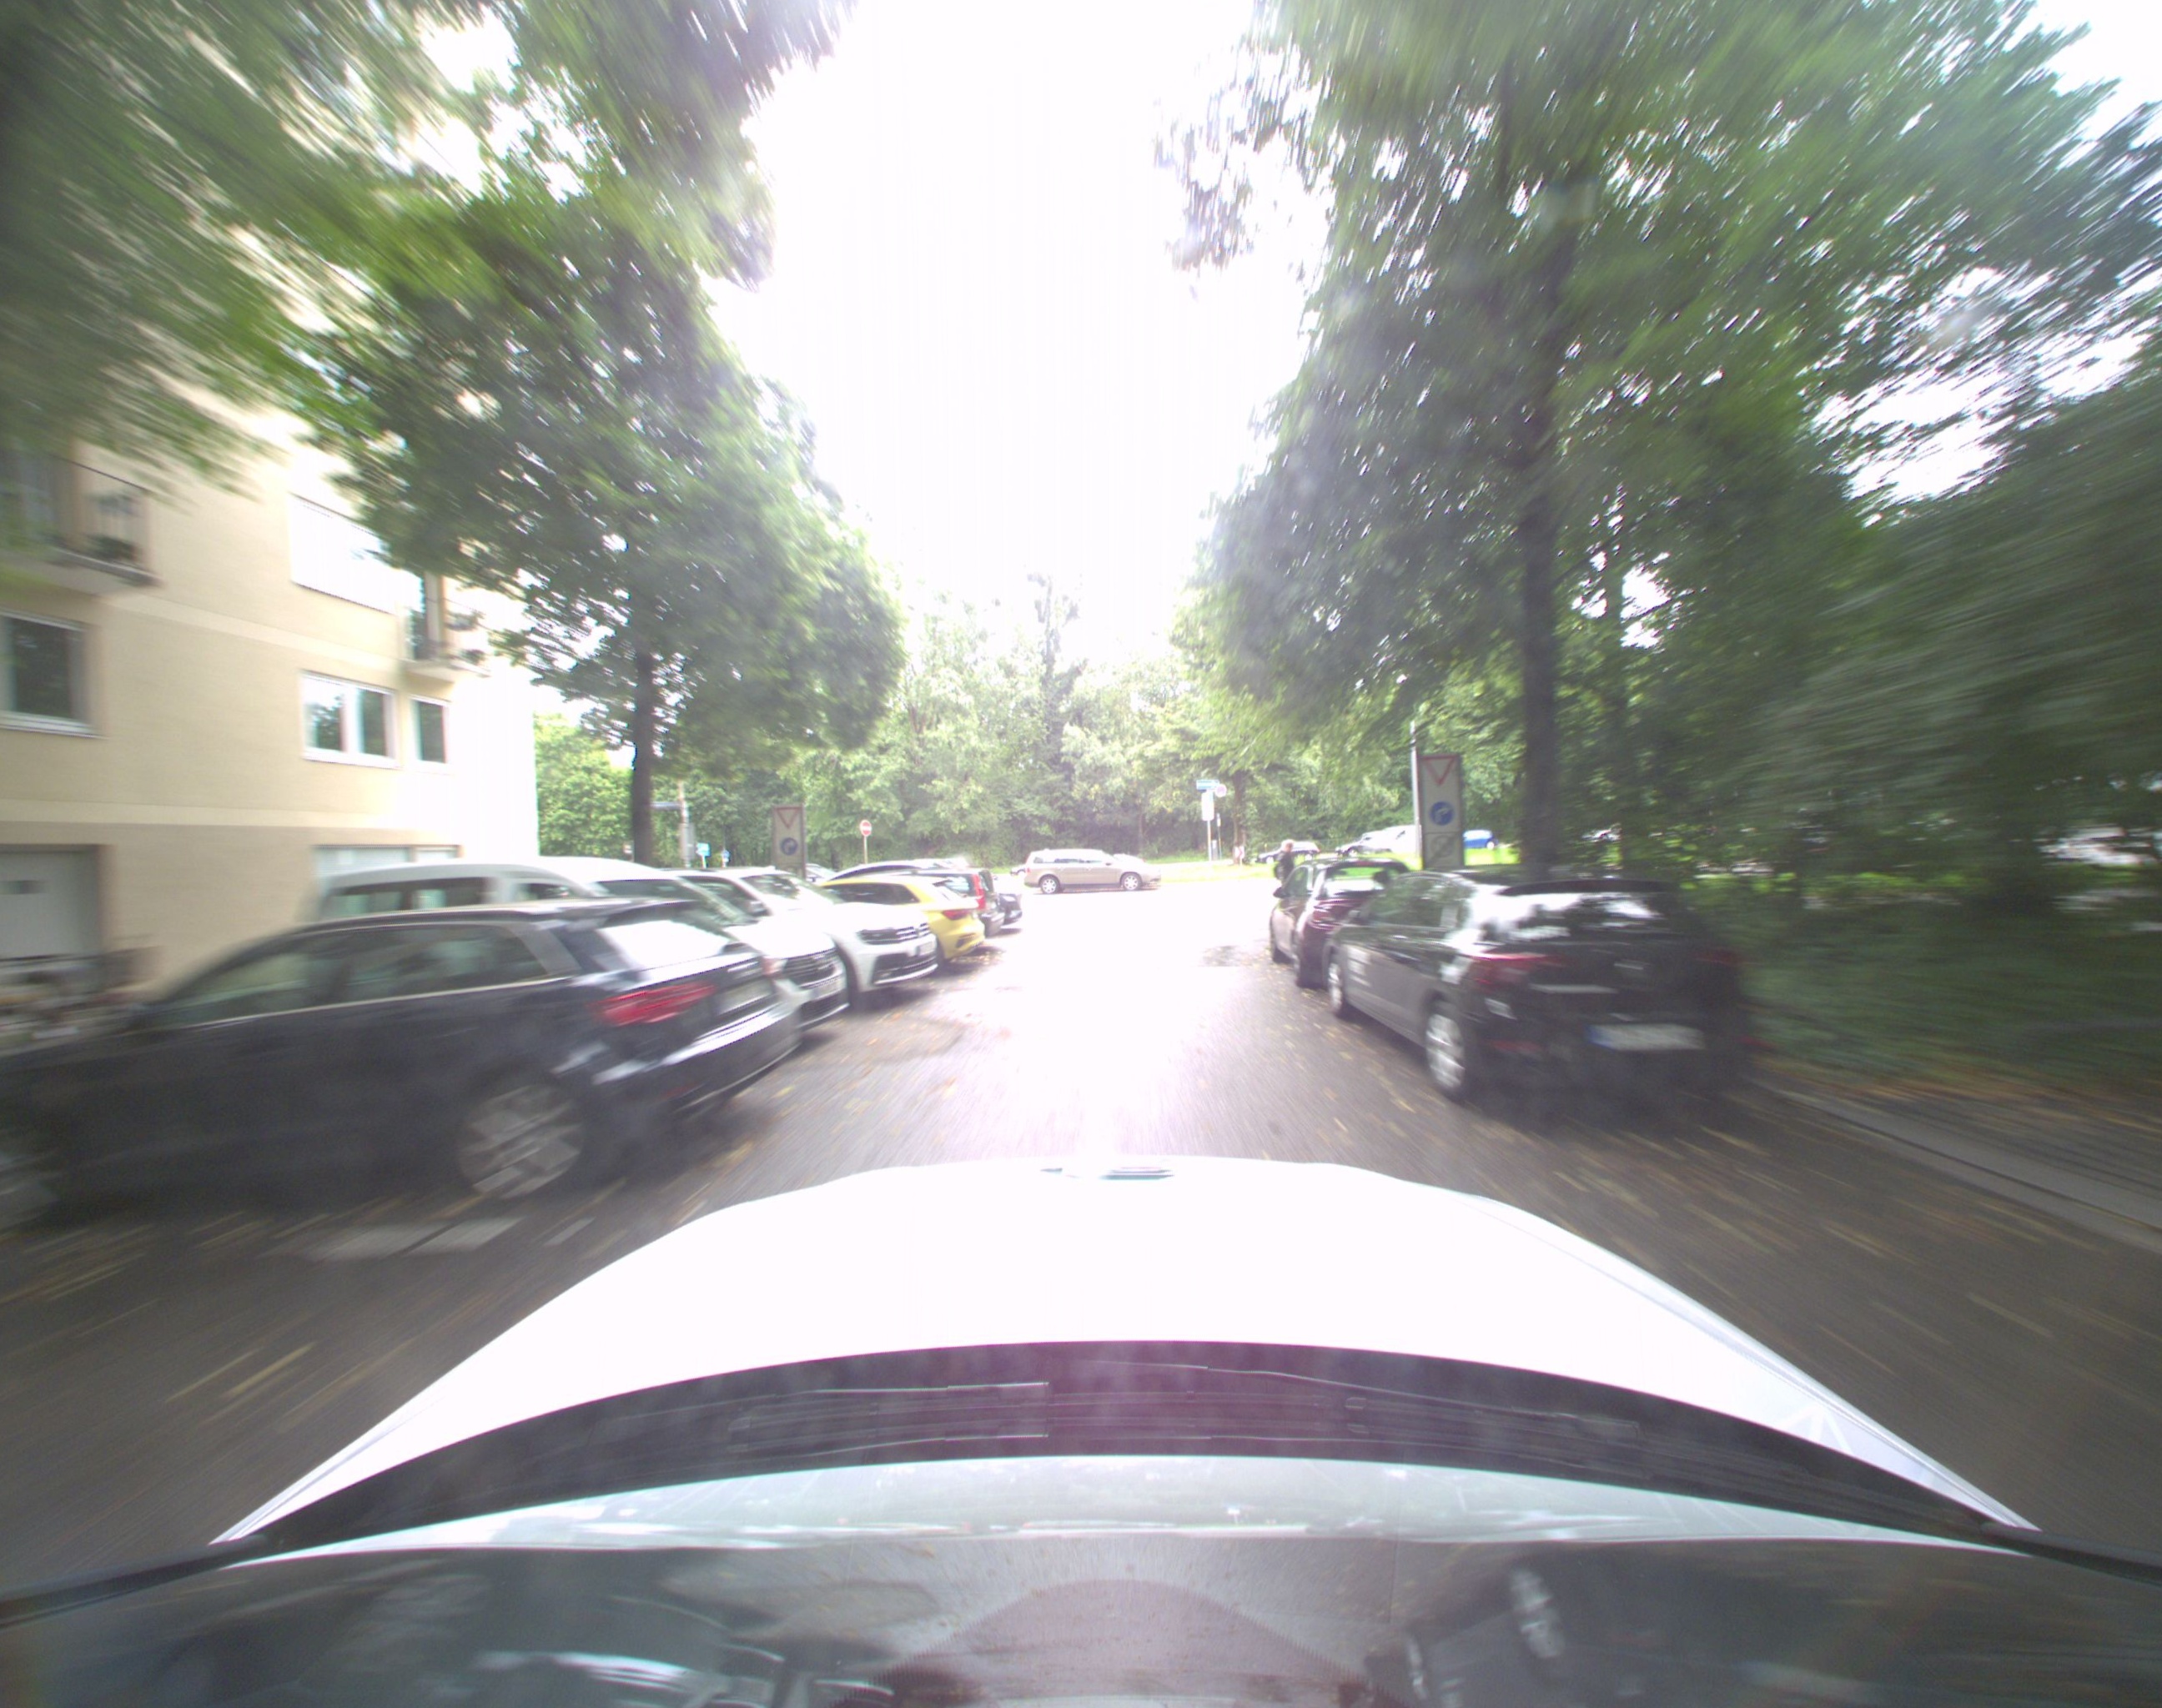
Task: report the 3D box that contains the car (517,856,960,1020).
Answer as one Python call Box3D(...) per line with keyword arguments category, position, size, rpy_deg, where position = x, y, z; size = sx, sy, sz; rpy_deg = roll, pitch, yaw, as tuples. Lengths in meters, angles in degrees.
Box3D(category="car", position=(-3.879, 0.932, 9.630), size=(4.423, 1.596, 1.840), rpy_deg=(-3, 0, 8))

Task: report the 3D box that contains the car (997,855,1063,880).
Box3D(category="car", position=(-3.465, 0.911, 55.918), size=(4.218, 1.494, 2.001), rpy_deg=(-3, 0, 1))

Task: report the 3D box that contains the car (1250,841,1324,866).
Box3D(category="car", position=(14.275, -0.020, 56.601), size=(4.574, 1.471, 1.928), rpy_deg=(-3, 0, -5))

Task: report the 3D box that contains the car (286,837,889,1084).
Box3D(category="car", position=(-4.190, 0.862, 7.340), size=(4.291, 1.731, 1.852), rpy_deg=(-4, 0, 6))

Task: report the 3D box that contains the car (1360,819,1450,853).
Box3D(category="car", position=(19.033, -1.041, 47.974), size=(4.494, 1.668, 1.930), rpy_deg=(-3, 0, -2))

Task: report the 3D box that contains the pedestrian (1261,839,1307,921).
Box3D(category="pedestrian", position=(4.178, 0.517, 16.813), size=(0.775, 1.617, 0.762), rpy_deg=(-3, 2, 6))

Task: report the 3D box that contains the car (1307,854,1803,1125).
Box3D(category="car", position=(3.078, 0.732, 6.355), size=(1.675, 1.358, 4.012), rpy_deg=(-2, 0, 3))

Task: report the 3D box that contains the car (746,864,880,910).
Box3D(category="car", position=(-9.838, 1.205, 30.010), size=(4.319, 1.380, 1.776), rpy_deg=(-3, 0, 11))

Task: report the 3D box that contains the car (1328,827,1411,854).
Box3D(category="car", position=(20.006, -0.909, 56.641), size=(5.021, 1.565, 1.997), rpy_deg=(-3, 0, -5))

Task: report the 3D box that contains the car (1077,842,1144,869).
Box3D(category="car", position=(2.025, 0.122, 55.733), size=(4.419, 1.579, 1.932), rpy_deg=(-3, 0, 1))

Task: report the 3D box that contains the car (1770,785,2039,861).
Box3D(category="car", position=(17.969, -0.652, 17.940), size=(3.964, 1.345, 1.619), rpy_deg=(-3, 0, 8))

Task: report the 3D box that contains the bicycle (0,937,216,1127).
Box3D(category="bicycle", position=(-7.320, 1.276, 5.910), size=(1.670, 1.236, 0.490), rpy_deg=(-3, 0, 7))

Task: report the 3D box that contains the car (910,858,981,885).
Box3D(category="car", position=(-9.251, 1.174, 55.815), size=(4.422, 1.579, 1.931), rpy_deg=(-3, 0, -1))

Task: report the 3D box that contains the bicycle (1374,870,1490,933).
Box3D(category="bicycle", position=(5.941, 0.810, 13.823), size=(1.740, 0.982, 0.274), rpy_deg=(-3, 0, 12))

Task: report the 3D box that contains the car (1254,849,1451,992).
Box3D(category="car", position=(3.306, 0.716, 10.613), size=(1.639, 1.474, 3.649), rpy_deg=(-3, 0, 6))

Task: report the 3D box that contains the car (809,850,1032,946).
Box3D(category="car", position=(-3.251, 0.874, 17.021), size=(4.145, 1.601, 1.737), rpy_deg=(-4, 2, 3))

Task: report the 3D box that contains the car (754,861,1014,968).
Box3D(category="car", position=(-3.318, 1.007, 14.228), size=(3.970, 1.464, 1.737), rpy_deg=(-4, 1, 3))

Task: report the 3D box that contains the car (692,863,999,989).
Box3D(category="car", position=(-3.303, 0.996, 11.948), size=(3.864, 1.441, 1.741), rpy_deg=(-4, 0, 2))

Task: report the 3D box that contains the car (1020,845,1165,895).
Box3D(category="car", position=(0.449, 0.553, 28.471), size=(4.774, 1.495, 1.847), rpy_deg=(-2, 0, 8))

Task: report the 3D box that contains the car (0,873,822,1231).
Box3D(category="car", position=(-3.802, 0.973, 4.655), size=(3.970, 1.433, 1.737), rpy_deg=(-4, 0, 3))

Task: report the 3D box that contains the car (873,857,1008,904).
Box3D(category="car", position=(-4.990, 0.928, 29.206), size=(4.319, 1.380, 1.776), rpy_deg=(-3, 0, 11))
